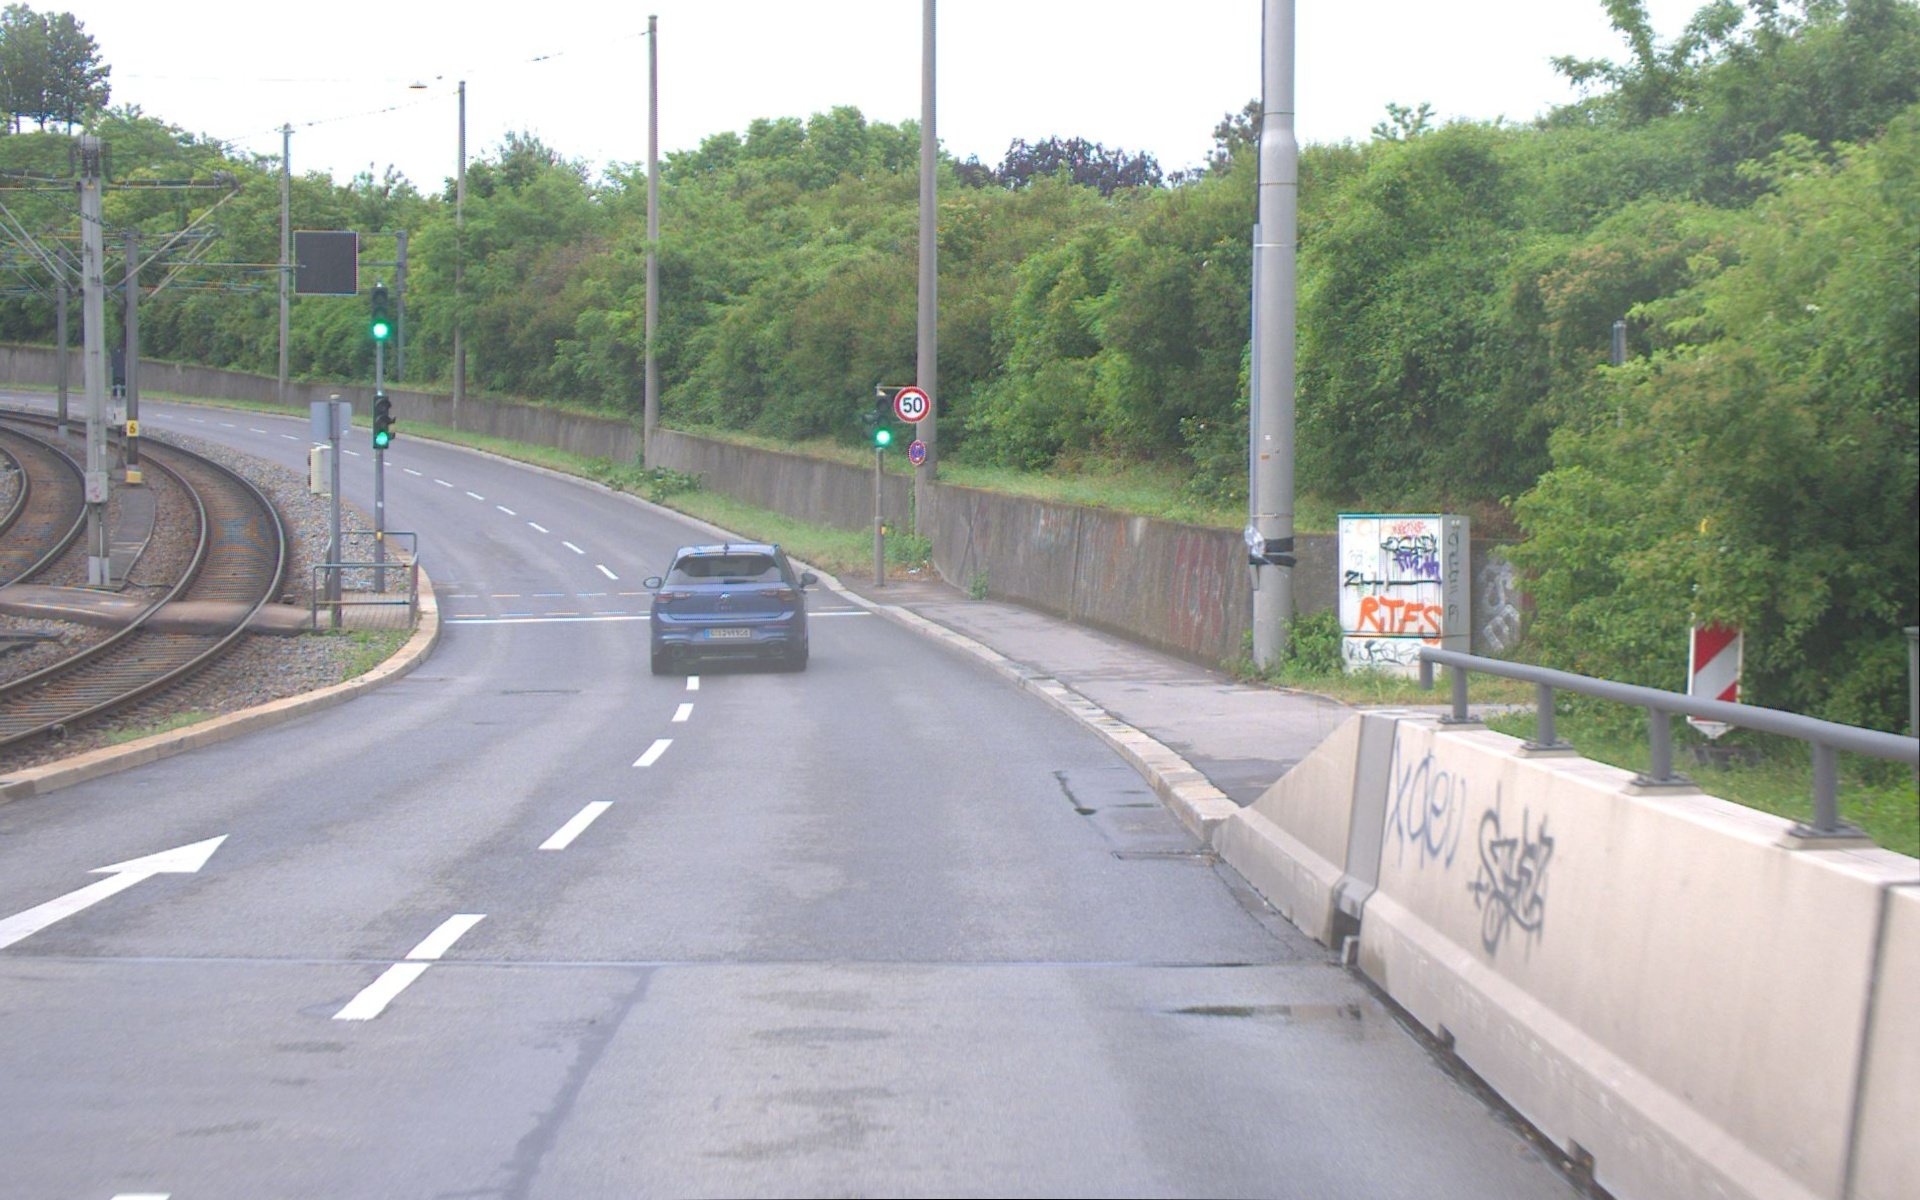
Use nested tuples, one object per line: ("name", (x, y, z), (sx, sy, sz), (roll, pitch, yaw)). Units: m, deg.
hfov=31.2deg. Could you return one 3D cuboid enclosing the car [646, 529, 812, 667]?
("car", (-2.640, -0.045, 40.020), (1.763, 1.496, 4.000), (1, 1, -2))
